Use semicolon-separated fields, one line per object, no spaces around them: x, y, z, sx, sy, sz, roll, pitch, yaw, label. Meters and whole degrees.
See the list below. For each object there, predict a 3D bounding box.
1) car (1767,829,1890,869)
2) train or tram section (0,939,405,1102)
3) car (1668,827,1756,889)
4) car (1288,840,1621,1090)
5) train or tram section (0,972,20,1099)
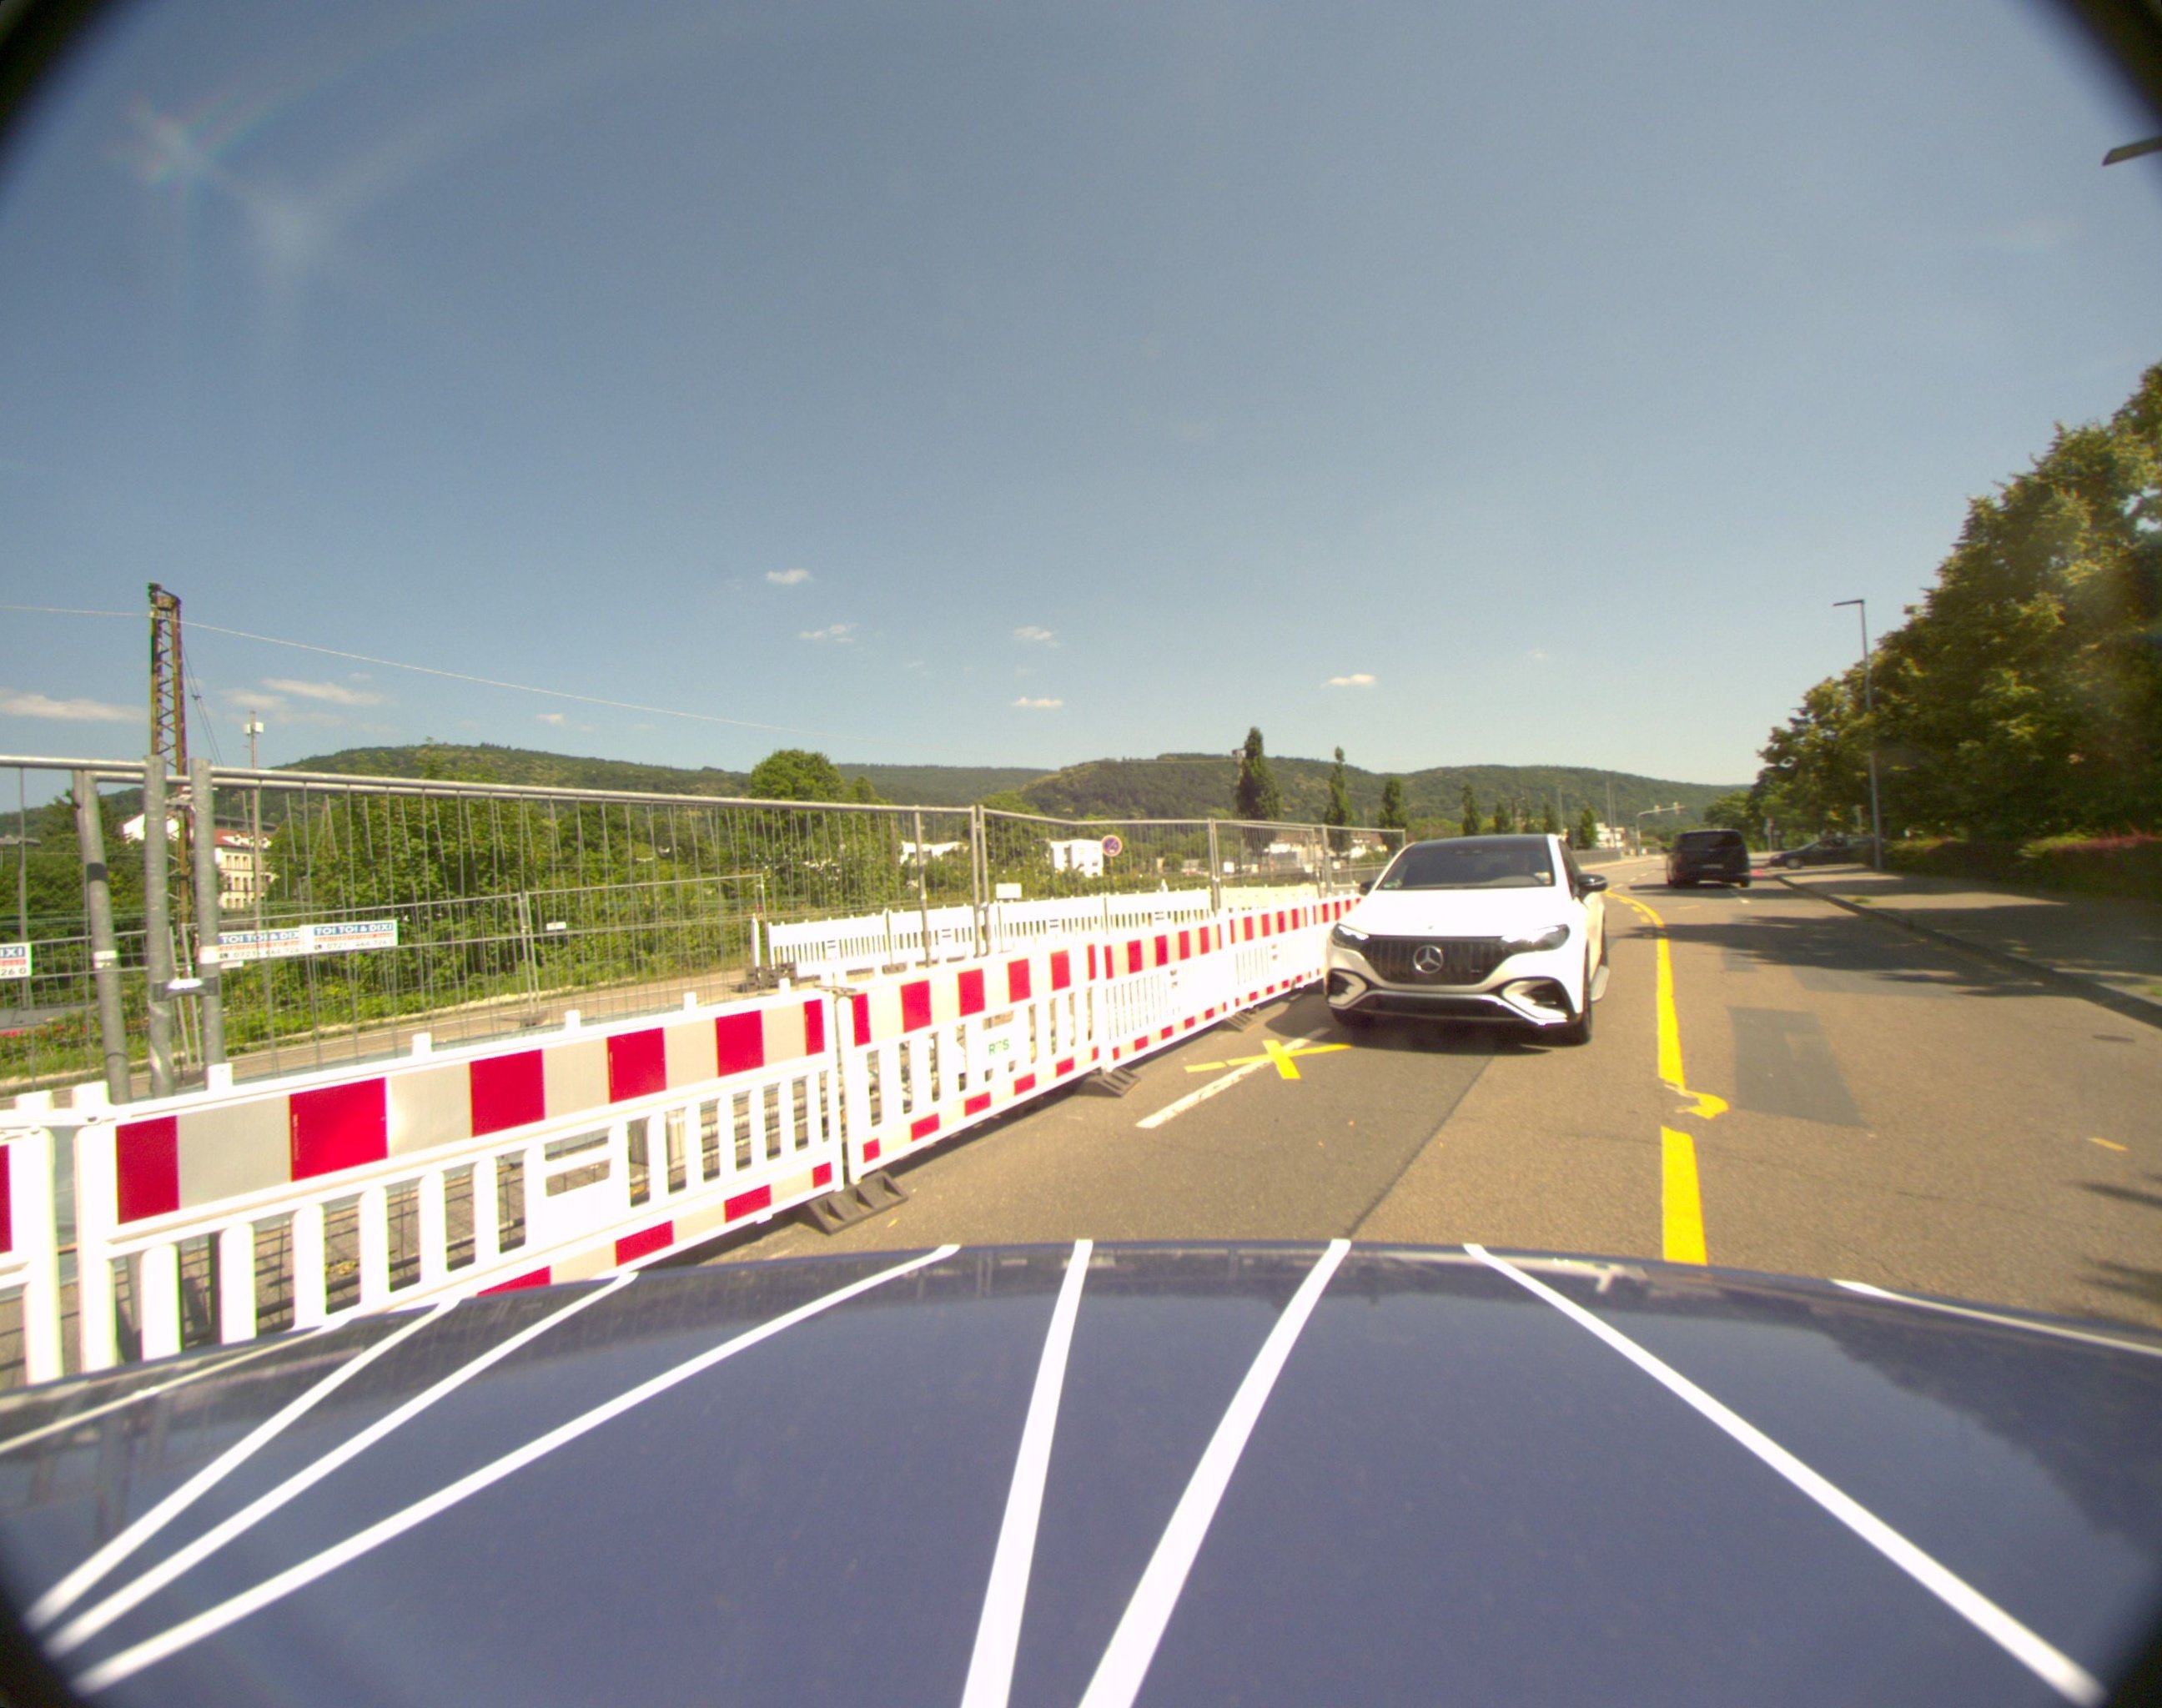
35.227;-0.233;35.970;3.991;1.455;1.884;-7;-3;42;car
-29.059;5.237;25.714;8.989;3.678;3.018;-3;-3;-44;train or tram section
22.105;0.059;26.738;2.177;1.957;5.455;-1;1;39;car
4.038;0.746;7.588;1.995;1.634;5.041;-4;-1;37;car
-35.501;5.589;19.573;8.989;3.691;3.018;-3;-3;-43;train or tram section
